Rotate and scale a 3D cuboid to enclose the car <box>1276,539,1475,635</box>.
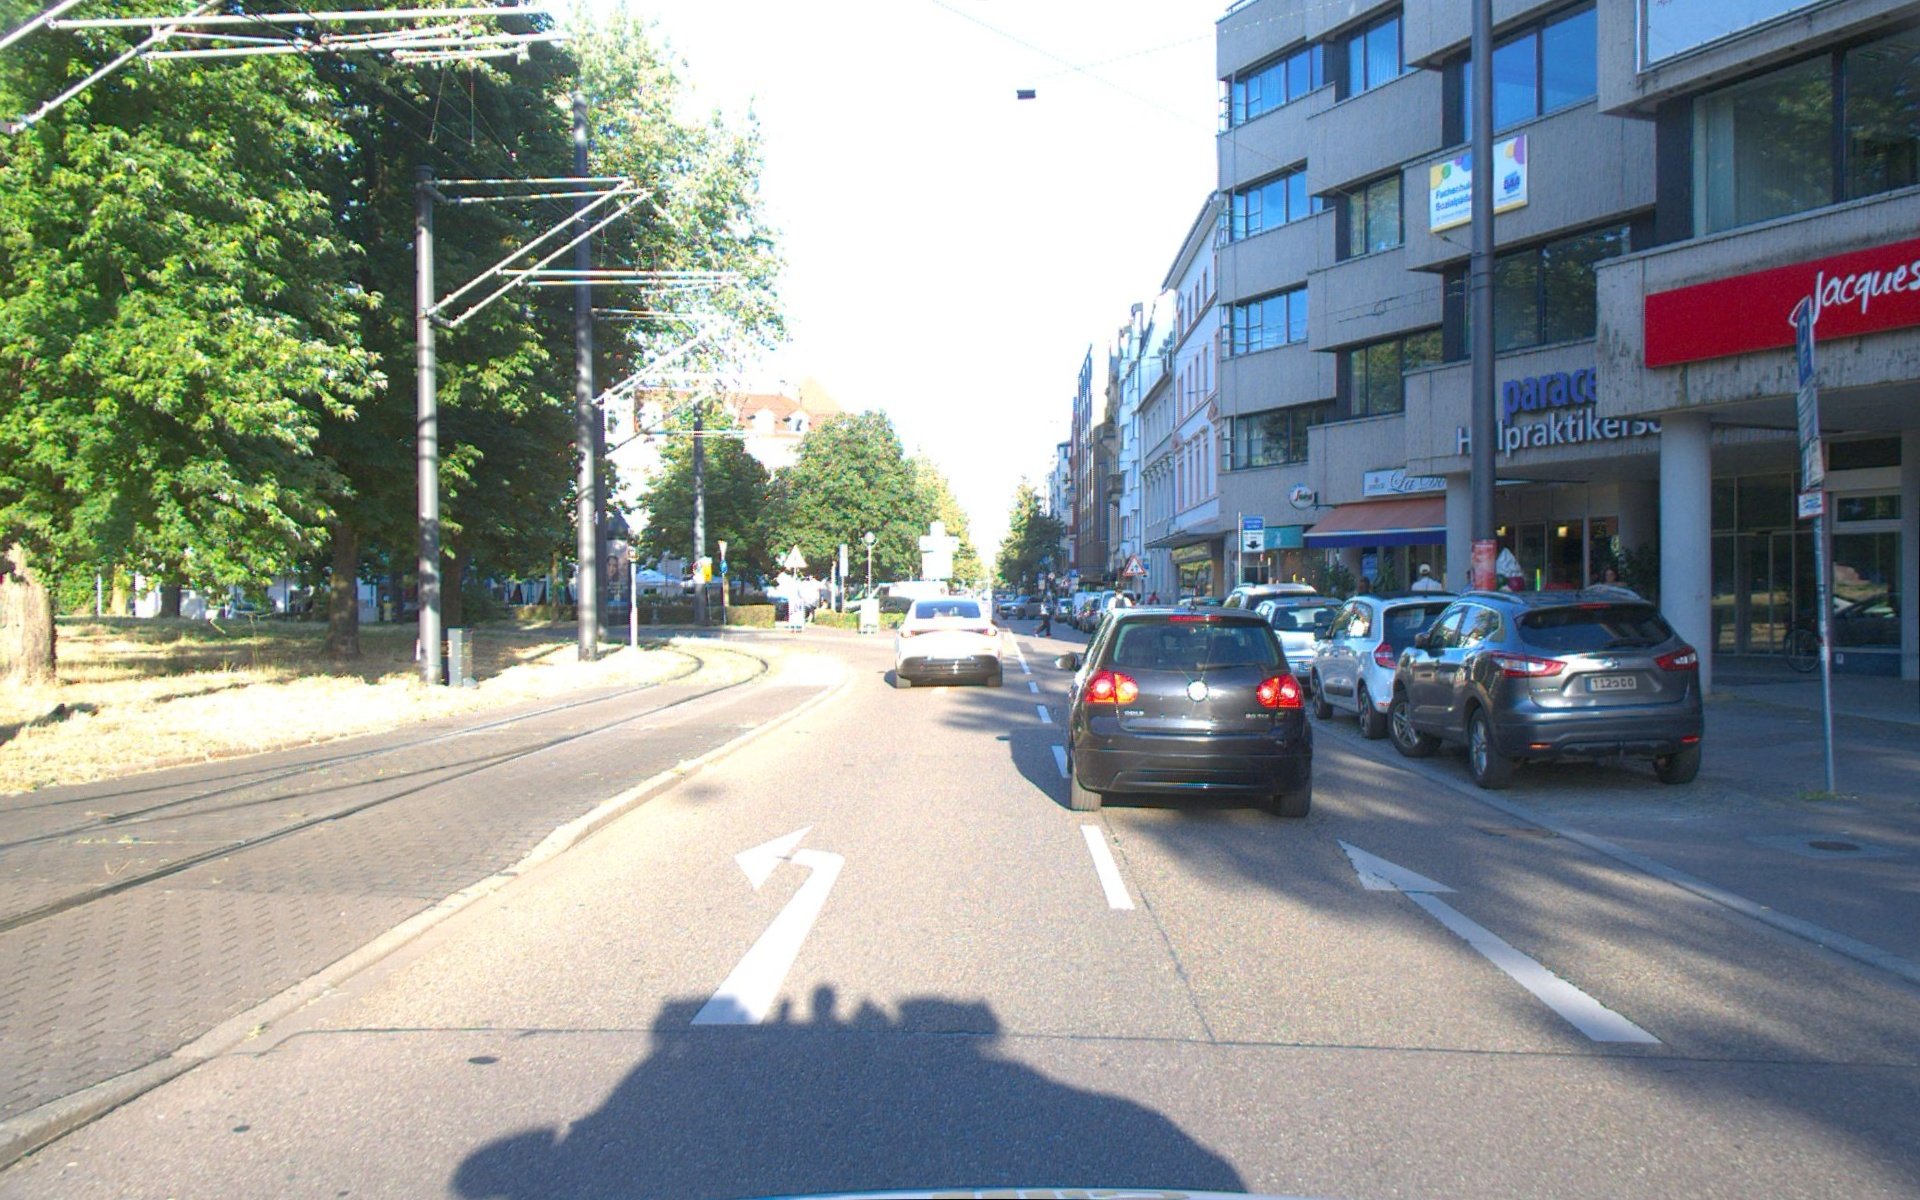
[{"bbox_3d":[11.644,-0.375,46.344,5.249,2.485,2.075,-2,0,-25],"label":"car"}]

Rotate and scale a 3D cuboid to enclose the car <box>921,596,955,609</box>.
[{"bbox_3d":[-2.307,0.288,175.445,3.321,1.310,1.666,1,0,-15],"label":"car"}]

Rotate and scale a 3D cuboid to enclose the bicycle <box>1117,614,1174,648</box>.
[{"bbox_3d":[6.267,1.047,55.842,1.813,1.063,0.579,-2,1,31],"label":"bicycle"}]

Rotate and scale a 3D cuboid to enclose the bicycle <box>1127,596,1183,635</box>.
[{"bbox_3d":[6.062,0.497,51.466,1.574,1.138,0.610,-2,1,34],"label":"bicycle"}]

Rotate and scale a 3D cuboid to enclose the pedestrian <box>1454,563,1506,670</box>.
[{"bbox_3d":[8.858,0.281,28.200,0.609,1.770,0.662,-3,0,2],"label":"pedestrian"}]

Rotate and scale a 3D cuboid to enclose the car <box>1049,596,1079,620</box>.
[{"bbox_3d":[7.009,0.559,111.554,1.716,1.537,3.545,-2,0,0],"label":"car"}]

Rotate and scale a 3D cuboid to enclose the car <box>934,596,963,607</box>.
[{"bbox_3d":[-1.468,0.198,206.610,3.321,1.310,1.666,1,0,-15],"label":"car"}]

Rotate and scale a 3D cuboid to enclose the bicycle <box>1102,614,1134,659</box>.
[{"bbox_3d":[3.681,0.833,38.680,0.567,1.004,1.936,1,0,1],"label":"bicycle"}]

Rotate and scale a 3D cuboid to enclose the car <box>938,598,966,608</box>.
[{"bbox_3d":[-1.084,0.368,214.351,3.321,1.310,1.666,1,0,-15],"label":"car"}]

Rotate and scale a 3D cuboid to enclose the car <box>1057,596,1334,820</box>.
[{"bbox_3d":[1.691,0.715,13.087,1.711,1.486,4.104,0,0,1],"label":"car"}]

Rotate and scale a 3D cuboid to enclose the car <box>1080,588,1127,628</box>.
[{"bbox_3d":[6.270,0.357,72.550,1.699,1.645,3.917,-2,0,1],"label":"car"}]

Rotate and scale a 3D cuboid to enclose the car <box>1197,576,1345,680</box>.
[{"bbox_3d":[5.824,0.481,31.481,1.829,1.743,4.504,-3,0,-1],"label":"car"}]

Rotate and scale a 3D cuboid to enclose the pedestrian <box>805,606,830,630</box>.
[{"bbox_3d":[-7.381,0.946,85.775,1.083,1.248,0.853,1,0,-25],"label":"pedestrian"}]

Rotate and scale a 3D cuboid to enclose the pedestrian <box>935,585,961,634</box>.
[{"bbox_3d":[-0.436,0.338,60.172,0.843,1.736,0.940,1,0,-5],"label":"pedestrian"}]

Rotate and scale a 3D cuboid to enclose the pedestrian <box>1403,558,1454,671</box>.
[{"bbox_3d":[8.002,0.242,28.284,0.609,1.890,0.662,-3,0,2],"label":"pedestrian"}]

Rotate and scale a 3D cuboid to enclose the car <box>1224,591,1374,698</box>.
[{"bbox_3d":[5.210,0.633,25.846,1.627,1.466,3.856,-3,0,2],"label":"car"}]

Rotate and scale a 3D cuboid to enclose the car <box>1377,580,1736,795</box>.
[{"bbox_3d":[5.161,0.668,14.956,1.745,1.583,4.235,-3,0,1],"label":"car"}]

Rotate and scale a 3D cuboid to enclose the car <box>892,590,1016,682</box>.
[{"bbox_3d":[-0.026,0.641,28.620,1.826,1.466,4.198,0,-2,4],"label":"car"}]

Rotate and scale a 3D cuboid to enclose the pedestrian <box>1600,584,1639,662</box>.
[{"bbox_3d":[14.434,0.498,36.188,0.589,1.678,0.518,1,0,-23],"label":"pedestrian"}]

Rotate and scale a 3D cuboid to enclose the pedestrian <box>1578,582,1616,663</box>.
[{"bbox_3d":[14.164,0.494,36.788,0.589,1.790,0.518,1,0,-23],"label":"pedestrian"}]

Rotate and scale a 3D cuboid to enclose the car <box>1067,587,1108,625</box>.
[{"bbox_3d":[6.561,0.309,85.332,1.885,1.873,4.018,-2,0,2],"label":"car"}]

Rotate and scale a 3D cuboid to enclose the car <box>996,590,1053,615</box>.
[{"bbox_3d":[4.879,0.166,125.146,3.951,1.803,1.977,0,1,-34],"label":"car"}]

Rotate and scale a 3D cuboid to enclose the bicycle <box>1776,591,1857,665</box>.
[{"bbox_3d":[13.681,0.441,26.410,1.742,1.091,0.477,-2,1,-39],"label":"bicycle"}]

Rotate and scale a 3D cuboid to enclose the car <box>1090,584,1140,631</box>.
[{"bbox_3d":[6.323,0.294,67.798,1.699,1.831,3.917,-2,0,1],"label":"car"}]

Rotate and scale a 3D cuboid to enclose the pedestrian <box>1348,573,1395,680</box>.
[{"bbox_3d":[7.055,0.449,28.361,0.566,1.790,0.662,-3,0,2],"label":"pedestrian"}]

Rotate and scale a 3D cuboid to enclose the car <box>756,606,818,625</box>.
[{"bbox_3d":[-12.019,1.078,114.796,3.931,1.324,1.840,0,0,-22],"label":"car"}]

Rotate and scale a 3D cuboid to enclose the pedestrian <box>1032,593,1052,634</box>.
[{"bbox_3d":[3.187,0.515,64.244,0.721,1.582,0.631,0,0,-3],"label":"pedestrian"}]

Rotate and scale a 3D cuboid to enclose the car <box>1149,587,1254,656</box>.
[{"bbox_3d":[5.663,0.487,39.180,1.629,1.466,3.820,-3,0,-4],"label":"car"}]

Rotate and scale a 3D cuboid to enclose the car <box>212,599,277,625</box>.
[{"bbox_3d":[-43.194,0.705,99.944,3.562,1.579,1.651,0,0,-22],"label":"car"}]

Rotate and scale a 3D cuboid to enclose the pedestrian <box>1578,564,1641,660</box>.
[{"bbox_3d":[11.739,0.212,29.892,0.969,1.702,0.641,-1,0,27],"label":"pedestrian"}]

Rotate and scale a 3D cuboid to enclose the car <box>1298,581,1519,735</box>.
[{"bbox_3d":[5.217,0.618,19.685,1.574,1.583,3.610,-3,0,0],"label":"car"}]

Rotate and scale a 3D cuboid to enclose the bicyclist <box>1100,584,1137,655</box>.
[{"bbox_3d":[3.707,0.451,38.655,0.761,1.646,1.025,1,0,1],"label":"bicyclist"}]

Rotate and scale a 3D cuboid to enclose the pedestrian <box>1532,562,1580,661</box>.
[{"bbox_3d":[10.867,0.200,30.133,0.683,1.757,1.032,-1,0,26],"label":"pedestrian"}]

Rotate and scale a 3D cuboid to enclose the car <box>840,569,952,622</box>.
[{"bbox_3d":[-3.280,-0.235,85.223,5.442,2.640,2.137,0,0,-26],"label":"car"}]

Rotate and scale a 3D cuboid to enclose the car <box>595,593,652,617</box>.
[{"bbox_3d":[-22.464,0.328,110.366,3.562,1.579,1.651,0,0,-22],"label":"car"}]
